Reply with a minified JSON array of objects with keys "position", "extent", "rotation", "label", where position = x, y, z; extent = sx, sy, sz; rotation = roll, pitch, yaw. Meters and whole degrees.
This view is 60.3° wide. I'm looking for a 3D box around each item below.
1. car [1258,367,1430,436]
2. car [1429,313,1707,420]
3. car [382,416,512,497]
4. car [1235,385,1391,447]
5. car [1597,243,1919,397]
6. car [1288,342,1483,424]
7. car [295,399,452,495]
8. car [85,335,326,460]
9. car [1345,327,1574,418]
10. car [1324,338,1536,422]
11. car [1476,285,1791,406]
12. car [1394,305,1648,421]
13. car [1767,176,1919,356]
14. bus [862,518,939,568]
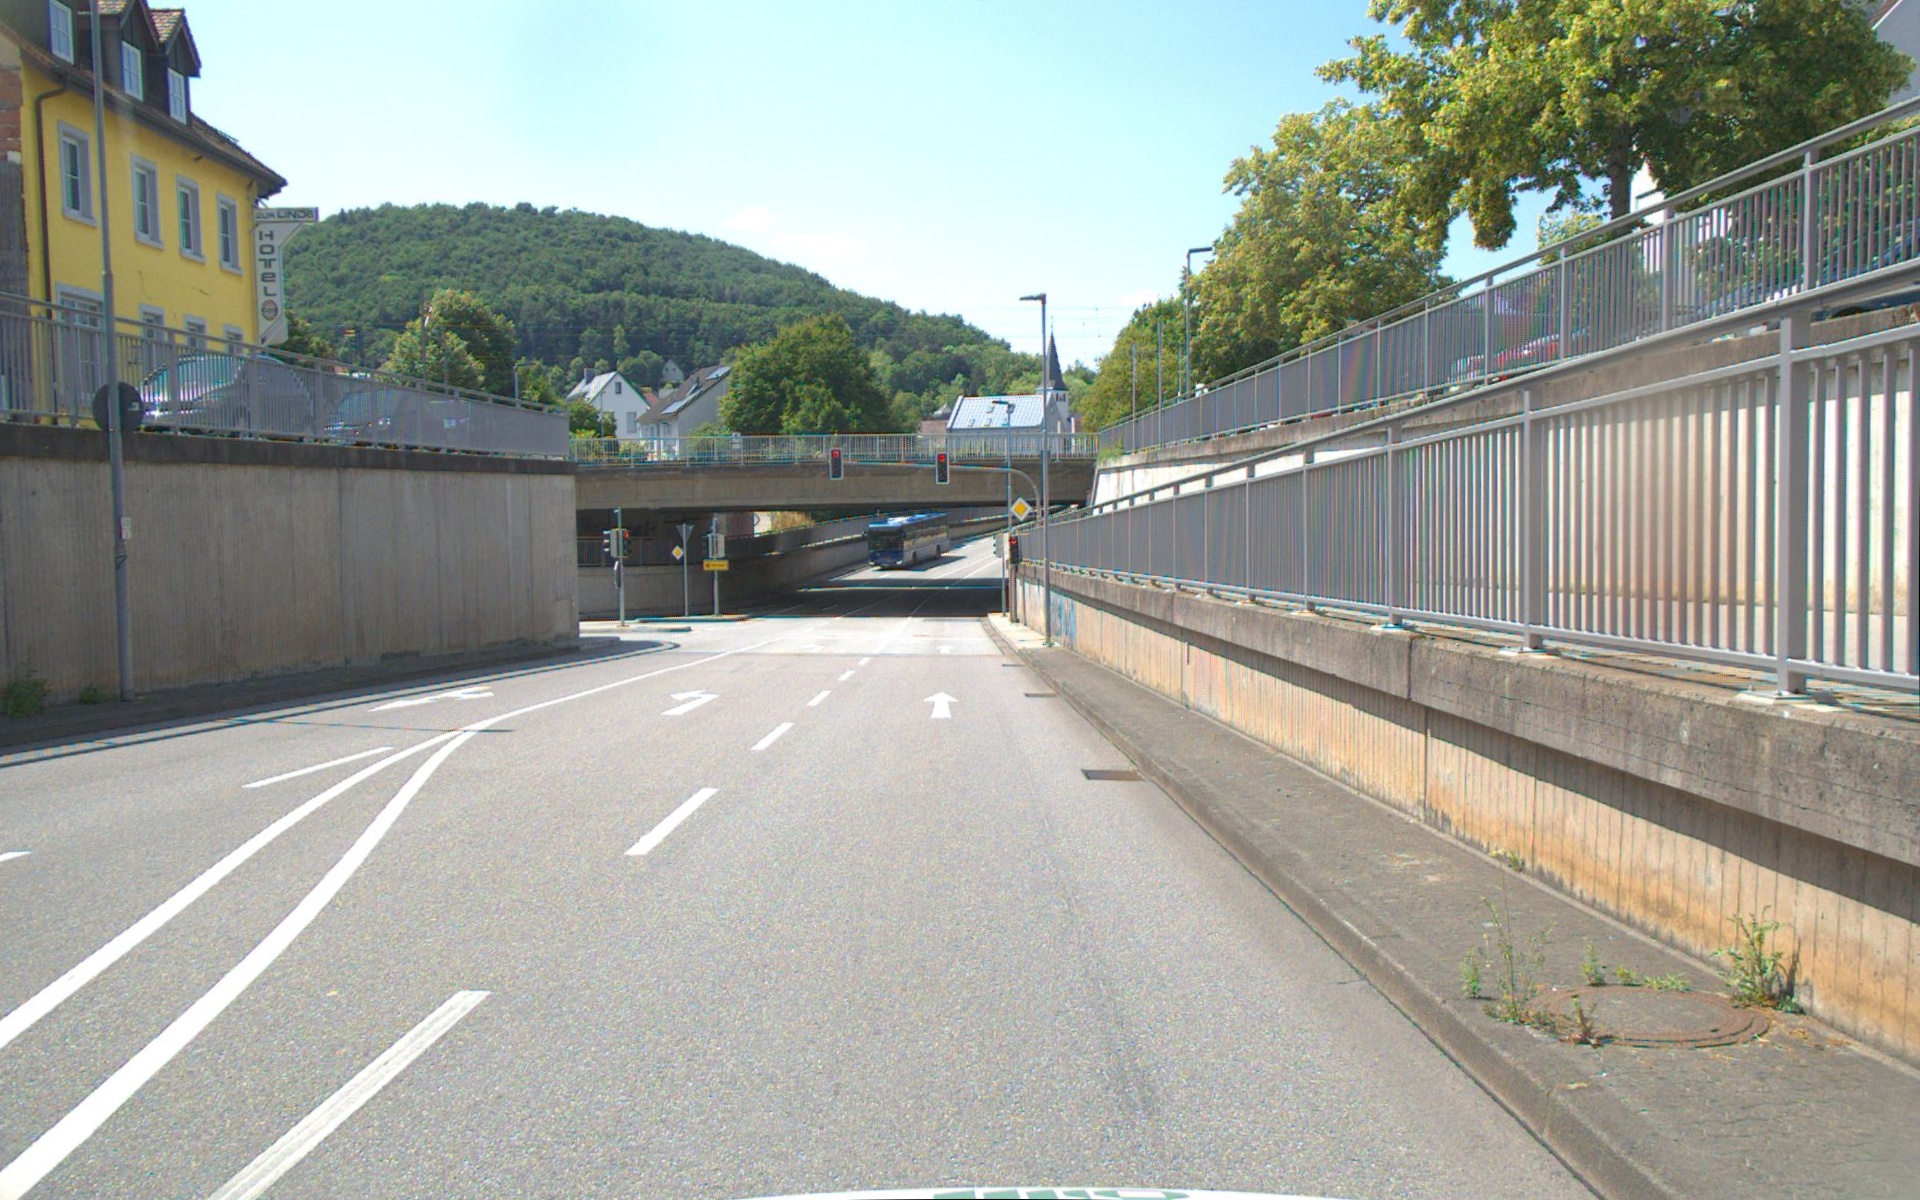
[{"position":[9.470,-4.898,41.018],"extent":[3.904,1.512,1.770],"rotation":[0,0,2],"label":"car"},{"position":[9.838,-3.781,26.971],"extent":[3.904,1.512,1.770],"rotation":[0,0,2],"label":"car"},{"position":[-11.737,-3.253,38.110],"extent":[1.864,1.696,4.000],"rotation":[0,3,-2],"label":"car"},{"position":[9.494,-4.957,44.686],"extent":[3.904,1.512,1.770],"rotation":[0,0,2],"label":"car"},{"position":[9.705,-3.219,19.269],"extent":[3.904,1.512,1.770],"rotation":[0,0,2],"label":"car"},{"position":[9.385,-4.788,36.700],"extent":[3.904,1.594,1.770],"rotation":[0,0,2],"label":"car"},{"position":[-11.677,-3.009,33.223],"extent":[1.786,1.735,4.222],"rotation":[0,3,-2],"label":"car"},{"position":[-11.266,-2.987,25.048],"extent":[1.762,1.551,4.392],"rotation":[0,3,-2],"label":"car"},{"position":[9.518,-4.336,31.753],"extent":[3.904,1.512,1.770],"rotation":[0,0,2],"label":"car"},{"position":[9.654,-4.520,34.188],"extent":[3.904,1.512,1.770],"rotation":[0,0,2],"label":"car"},{"position":[9.757,-3.684,24.200],"extent":[3.904,1.512,1.770],"rotation":[0,0,2],"label":"car"},{"position":[9.835,-4.154,29.198],"extent":[3.904,1.801,1.770],"rotation":[0,0,2],"label":"car"},{"position":[10.696,-3.396,17.034],"extent":[3.904,1.512,1.770],"rotation":[0,0,2],"label":"car"},{"position":[-4.031,-4.041,115.004],"extent":[2.526,3.227,12.391],"rotation":[0,3,11],"label":"bus"}]
